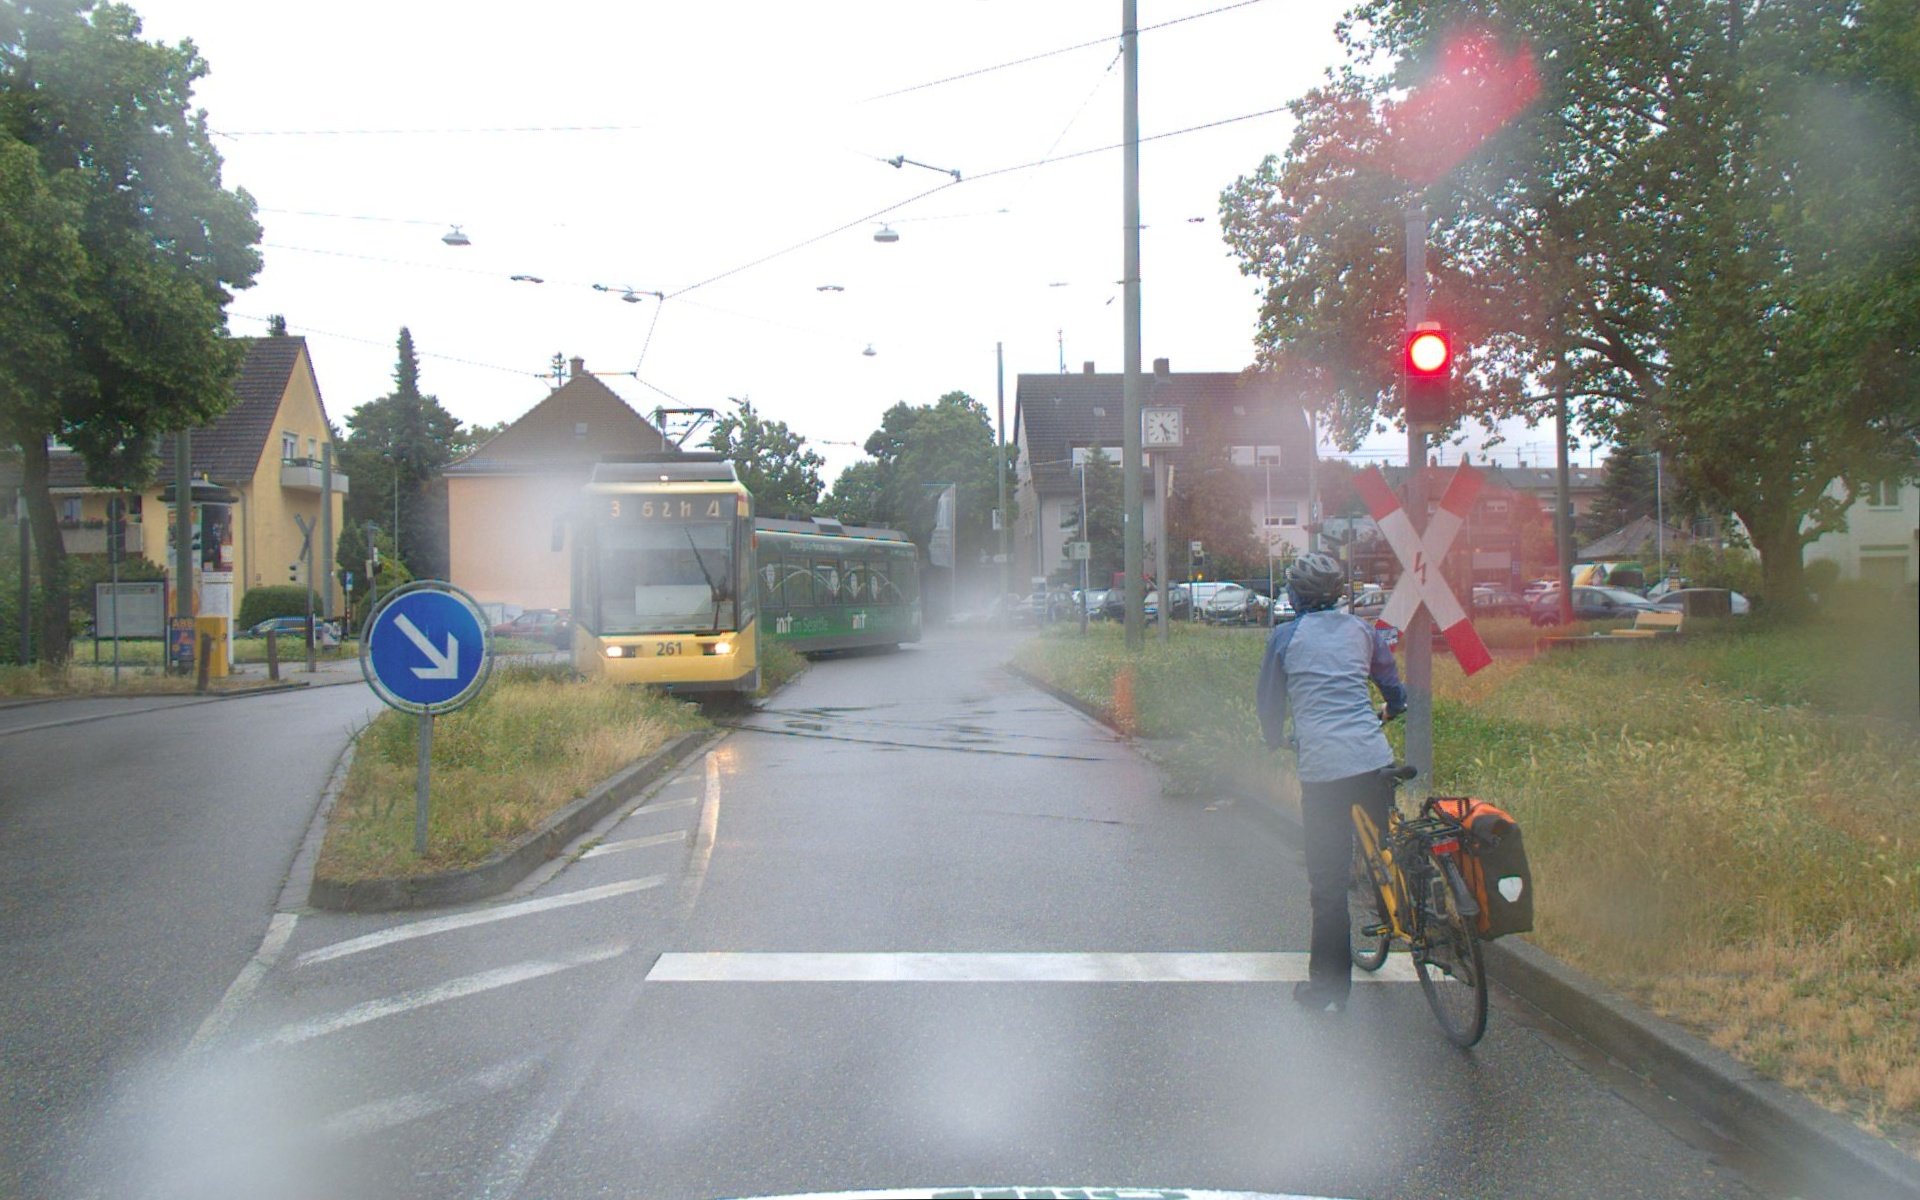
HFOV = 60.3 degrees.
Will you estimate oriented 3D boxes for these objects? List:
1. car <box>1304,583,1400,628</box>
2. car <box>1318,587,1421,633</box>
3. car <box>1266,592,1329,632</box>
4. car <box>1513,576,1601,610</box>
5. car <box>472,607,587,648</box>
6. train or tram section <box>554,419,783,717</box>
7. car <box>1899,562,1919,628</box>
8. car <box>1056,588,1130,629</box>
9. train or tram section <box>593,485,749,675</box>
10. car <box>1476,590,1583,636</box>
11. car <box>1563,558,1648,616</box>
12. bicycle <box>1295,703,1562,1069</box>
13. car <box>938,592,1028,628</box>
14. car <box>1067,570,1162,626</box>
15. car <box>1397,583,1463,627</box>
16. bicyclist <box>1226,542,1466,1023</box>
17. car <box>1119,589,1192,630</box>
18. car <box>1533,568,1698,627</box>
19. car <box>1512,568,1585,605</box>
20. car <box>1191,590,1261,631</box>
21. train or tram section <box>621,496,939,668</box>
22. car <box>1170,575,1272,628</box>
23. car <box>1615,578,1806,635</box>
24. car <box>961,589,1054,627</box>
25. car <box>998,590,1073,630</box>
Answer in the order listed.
[{"bbox_3d":[18.097,0.237,76.540,3.907,1.985,1.999,1,-1,-3],"label":"car"},{"bbox_3d":[16.156,0.402,65.341,3.609,1.731,1.890,1,-1,0],"label":"car"},{"bbox_3d":[14.565,0.525,71.176,1.804,1.668,3.997,1,0,24],"label":"car"},{"bbox_3d":[31.070,-0.348,86.072,3.905,1.668,1.846,1,-1,-1],"label":"car"},{"bbox_3d":[-16.182,1.027,62.329,3.911,1.482,1.831,1,0,-7],"label":"car"},{"bbox_3d":[-4.676,-0.402,26.356,2.711,3.615,12.172,-1,0,-11],"label":"train or tram section"},{"bbox_3d":[28.142,-0.107,45.527,3.703,1.829,1.798,1,-1,43],"label":"car"},{"bbox_3d":[5.806,0.376,71.602,1.954,1.668,3.997,1,0,24],"label":"car"},{"bbox_3d":[-5.913,-0.369,34.524,2.707,3.615,4.983,-1,-1,-5],"label":"train or tram section"},{"bbox_3d":[22.614,0.516,65.740,3.609,1.731,1.890,1,-1,0],"label":"car"},{"bbox_3d":[28.829,-0.557,74.025,1.953,2.485,4.352,1,0,-2],"label":"car"},{"bbox_3d":[1.652,0.954,6.075,0.437,1.022,1.727,-1,0,-2],"label":"bicycle"},{"bbox_3d":[1.131,0.483,79.935,3.956,1.672,1.974,1,-1,-37],"label":"car"},{"bbox_3d":[7.482,-0.106,79.910,4.301,2.610,2.001,1,-1,14],"label":"car"},{"bbox_3d":[20.570,0.234,72.594,1.952,1.822,4.001,1,0,3],"label":"car"},{"bbox_3d":[1.407,0.635,6.156,0.653,1.654,0.852,1,-1,-2],"label":"bicyclist"},{"bbox_3d":[8.350,0.413,70.472,1.954,1.668,3.997,1,0,24],"label":"car"},{"bbox_3d":[17.966,-0.069,45.436,3.848,1.522,1.798,1,-1,43],"label":"car"},{"bbox_3d":[34.254,-0.765,96.359,1.963,2.049,3.978,1,0,-19],"label":"car"},{"bbox_3d":[11.403,0.468,70.738,1.954,1.668,3.997,1,0,24],"label":"car"},{"bbox_3d":[-3.977,-0.437,41.640,2.702,3.615,13.139,-1,0,18],"label":"train or tram section"},{"bbox_3d":[12.020,0.073,76.411,4.307,2.365,1.999,1,-1,-3],"label":"car"},{"bbox_3d":[18.472,0.156,40.859,3.902,1.308,1.847,1,0,6],"label":"car"},{"bbox_3d":[2.230,0.384,76.884,3.956,1.705,1.974,1,-1,-37],"label":"car"},{"bbox_3d":[3.340,0.452,72.809,1.954,1.668,3.997,1,0,24],"label":"car"}]
